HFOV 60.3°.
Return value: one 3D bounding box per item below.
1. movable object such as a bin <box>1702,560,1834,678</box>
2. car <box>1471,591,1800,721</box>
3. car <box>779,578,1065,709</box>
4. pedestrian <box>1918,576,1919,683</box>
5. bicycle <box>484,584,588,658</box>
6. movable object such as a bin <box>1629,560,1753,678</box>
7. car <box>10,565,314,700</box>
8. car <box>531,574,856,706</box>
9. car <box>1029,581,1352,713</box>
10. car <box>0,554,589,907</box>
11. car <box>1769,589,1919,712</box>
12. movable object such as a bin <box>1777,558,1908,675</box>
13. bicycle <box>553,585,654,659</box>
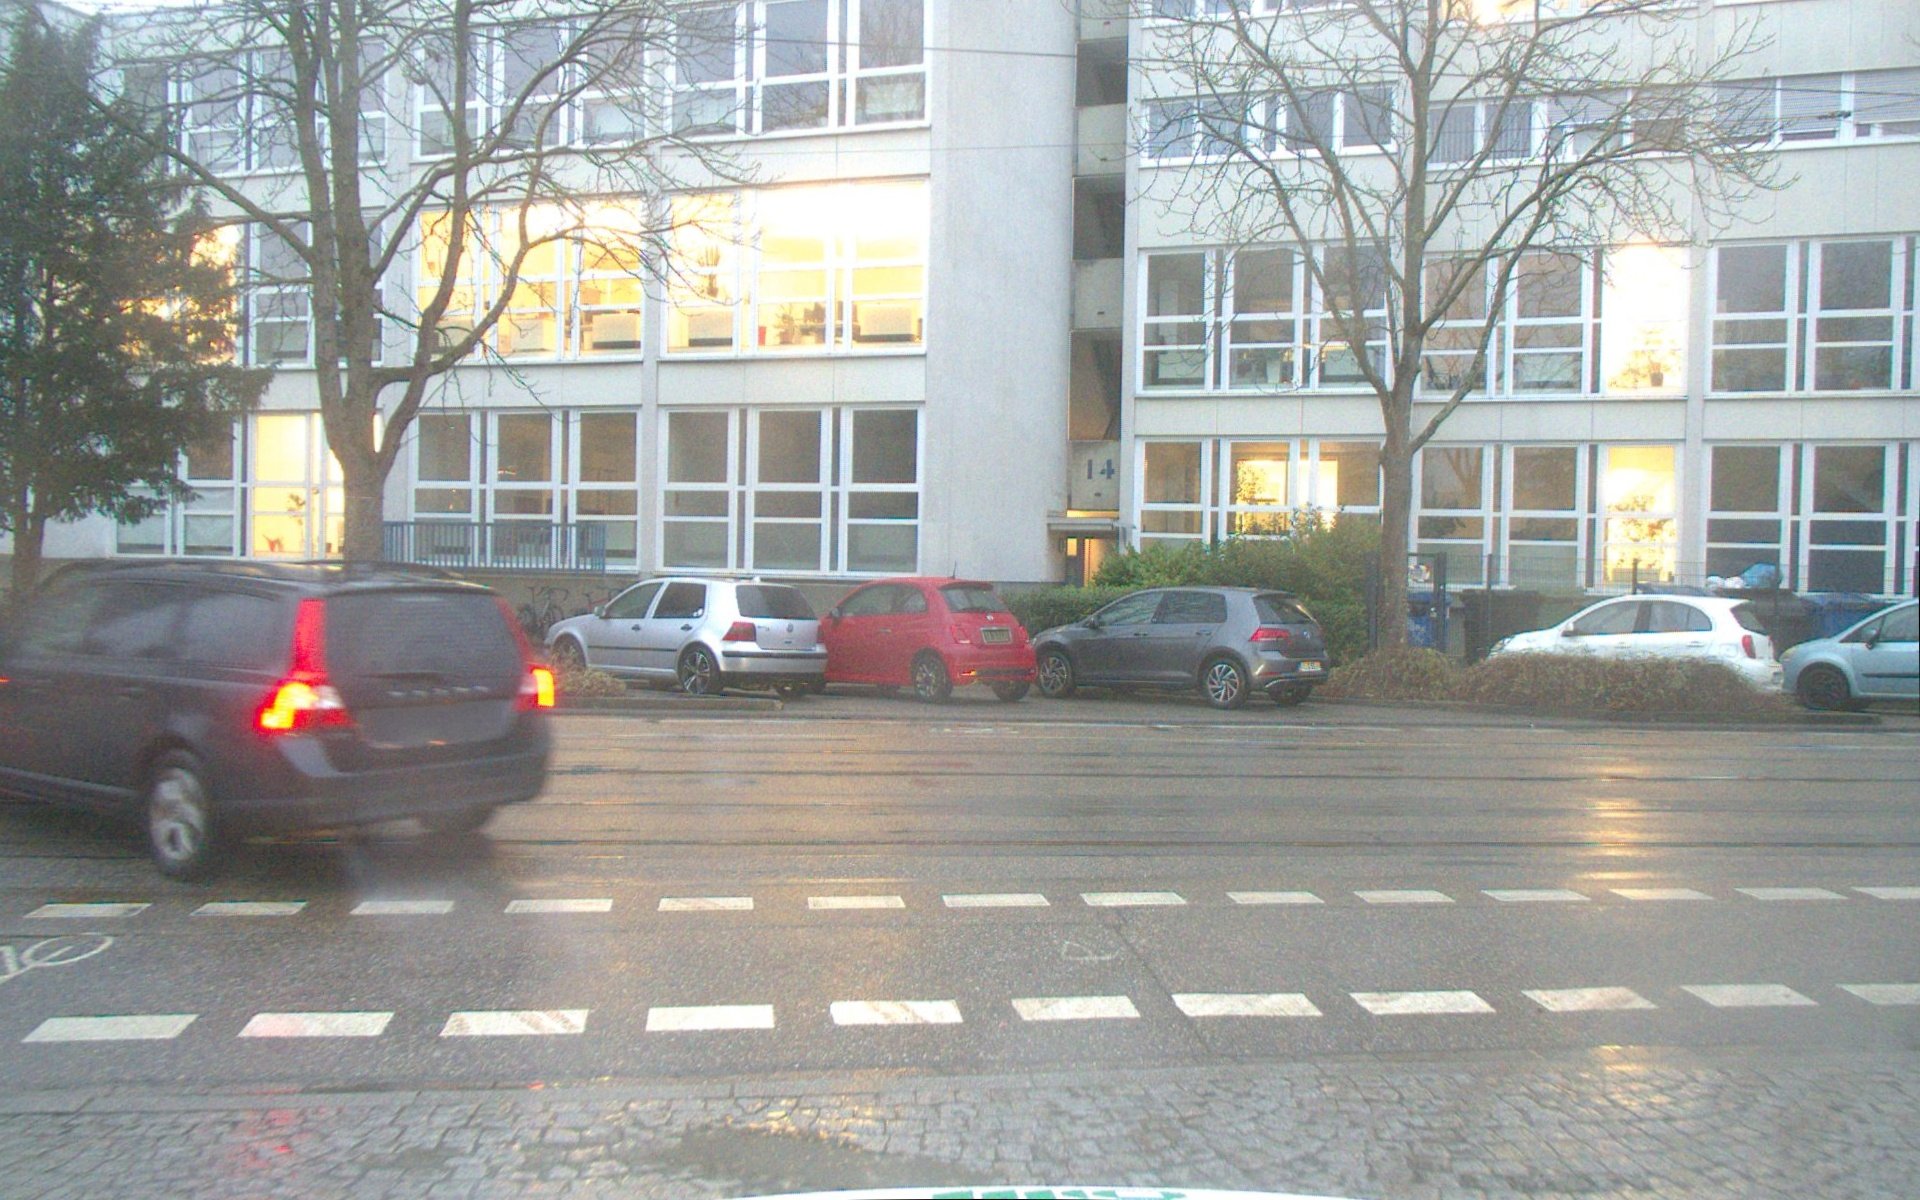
[{"bbox_3d":[13.474,0.302,27.641,1.362,1.892,1.573,-1,1,-6],"label":"movable object such as a bin"},{"bbox_3d":[9.068,0.679,22.329,3.803,1.578,1.685,1,1,39],"label":"car"},{"bbox_3d":[-0.525,0.482,21.010,3.389,1.519,1.719,1,1,42],"label":"car"},{"bbox_3d":[15.816,0.469,26.199,0.951,1.706,0.598,0,0,-7],"label":"pedestrian"},{"bbox_3d":[-6.864,0.318,26.899,0.626,1.140,2.207,0,1,16],"label":"bicycle"},{"bbox_3d":[12.116,0.298,27.478,1.288,1.892,1.573,-1,1,-6],"label":"movable object such as a bin"},{"bbox_3d":[-9.320,0.307,19.200,3.928,1.403,1.845,1,1,42],"label":"car"},{"bbox_3d":[-3.334,0.423,20.381,3.922,1.471,1.785,1,1,38],"label":"car"},{"bbox_3d":[2.876,0.529,21.029,3.782,1.519,1.687,1,1,40],"label":"car"},{"bbox_3d":[-4.155,0.554,9.352,4.211,1.572,1.746,1,1,37],"label":"car"},{"bbox_3d":[13.154,0.656,22.094,3.928,1.591,1.727,1,1,42],"label":"car"},{"bbox_3d":[14.790,0.259,27.776,1.288,1.892,1.573,-1,1,-6],"label":"movable object such as a bin"},{"bbox_3d":[-5.697,0.327,26.587,0.626,1.140,2.207,0,1,16],"label":"bicycle"}]
